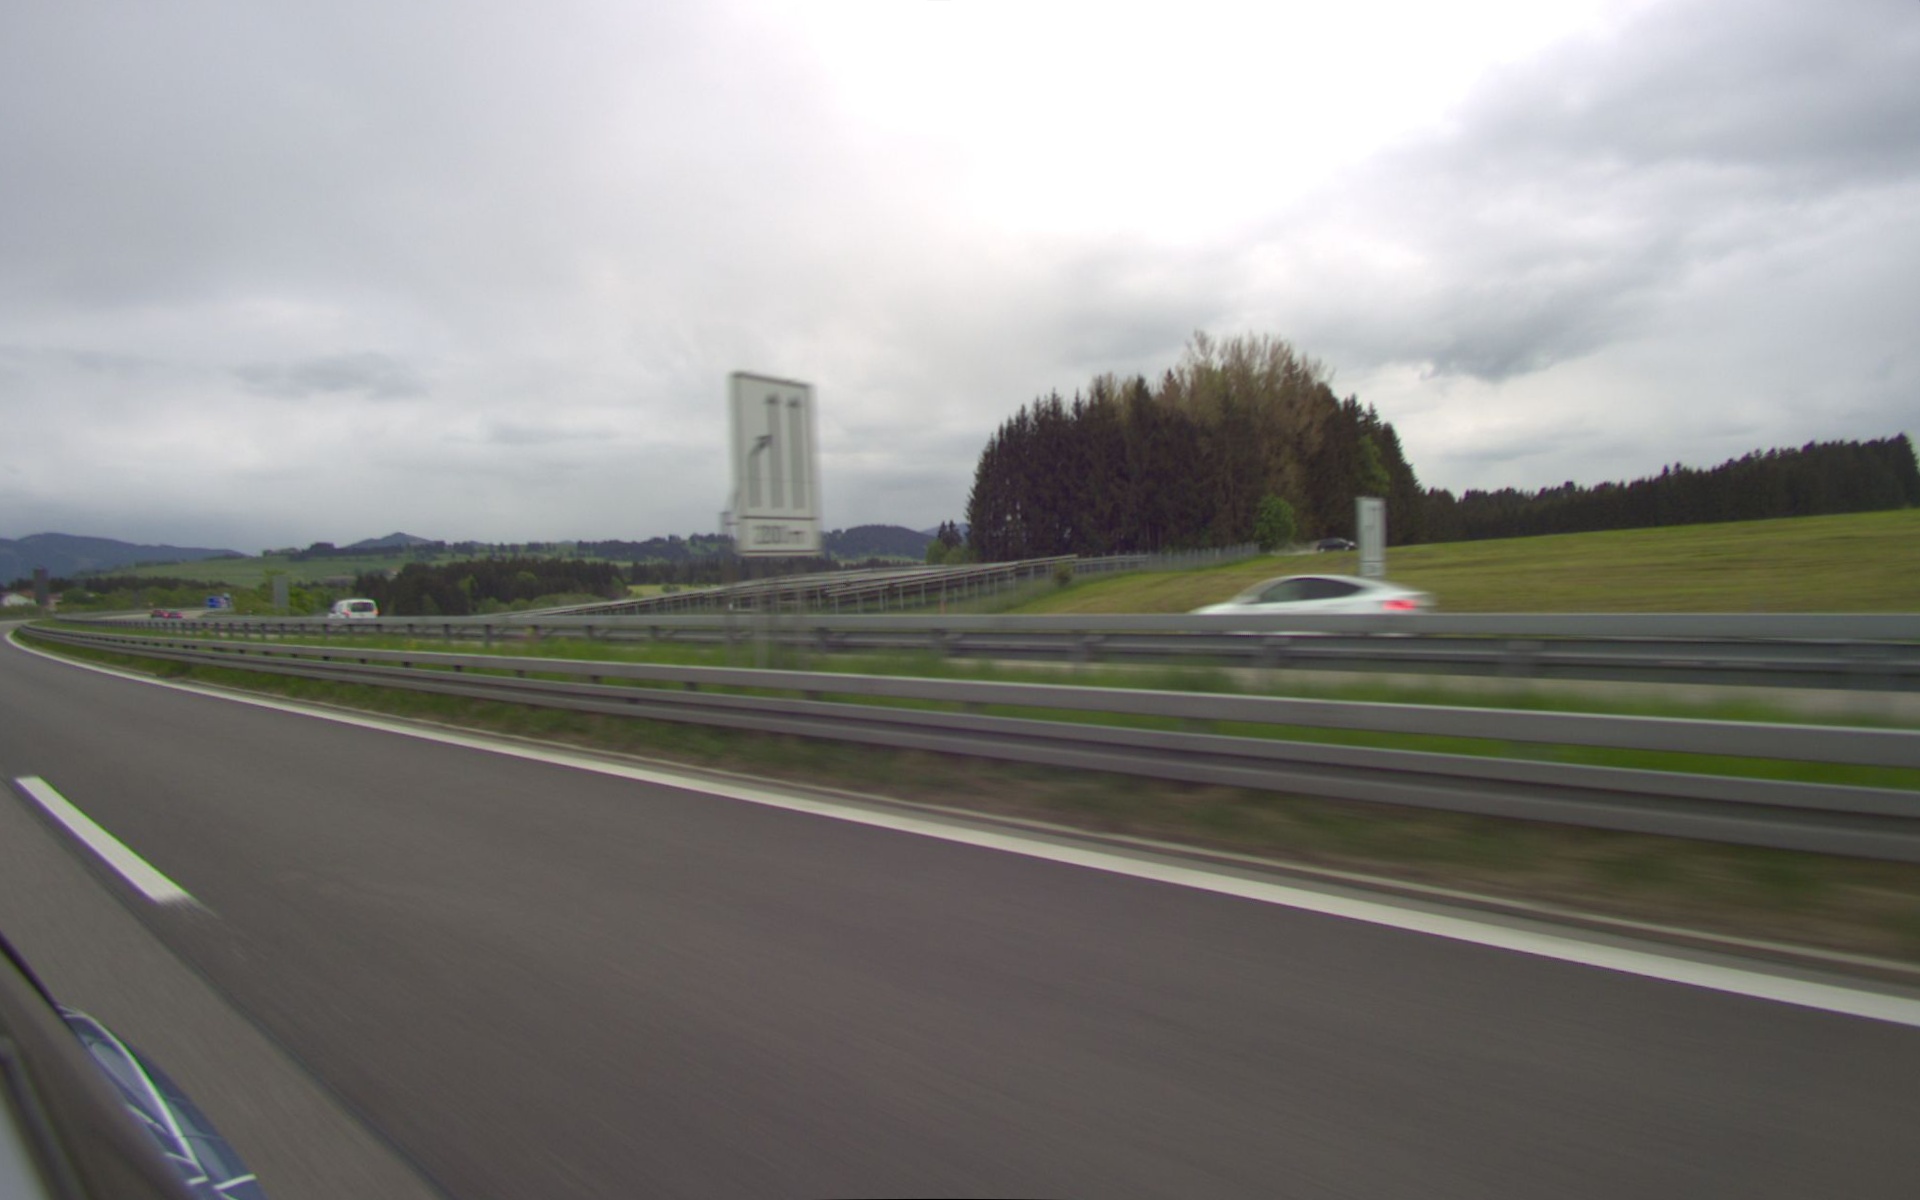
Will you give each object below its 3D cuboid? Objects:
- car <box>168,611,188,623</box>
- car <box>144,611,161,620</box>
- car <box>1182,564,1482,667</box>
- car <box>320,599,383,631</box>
[{"bbox_3d":[-104.962,2.326,135.818,1.969,1.450,5.009,-4,2,-39],"label":"car"},{"bbox_3d":[-132.699,2.569,166.248,1.968,1.428,4.009,-4,2,-36],"label":"car"},{"bbox_3d":[7.106,0.294,19.692,5.052,1.703,2.014,-2,2,41],"label":"car"},{"bbox_3d":[-35.496,0.899,59.025,4.628,1.698,1.972,-2,2,44],"label":"car"}]
